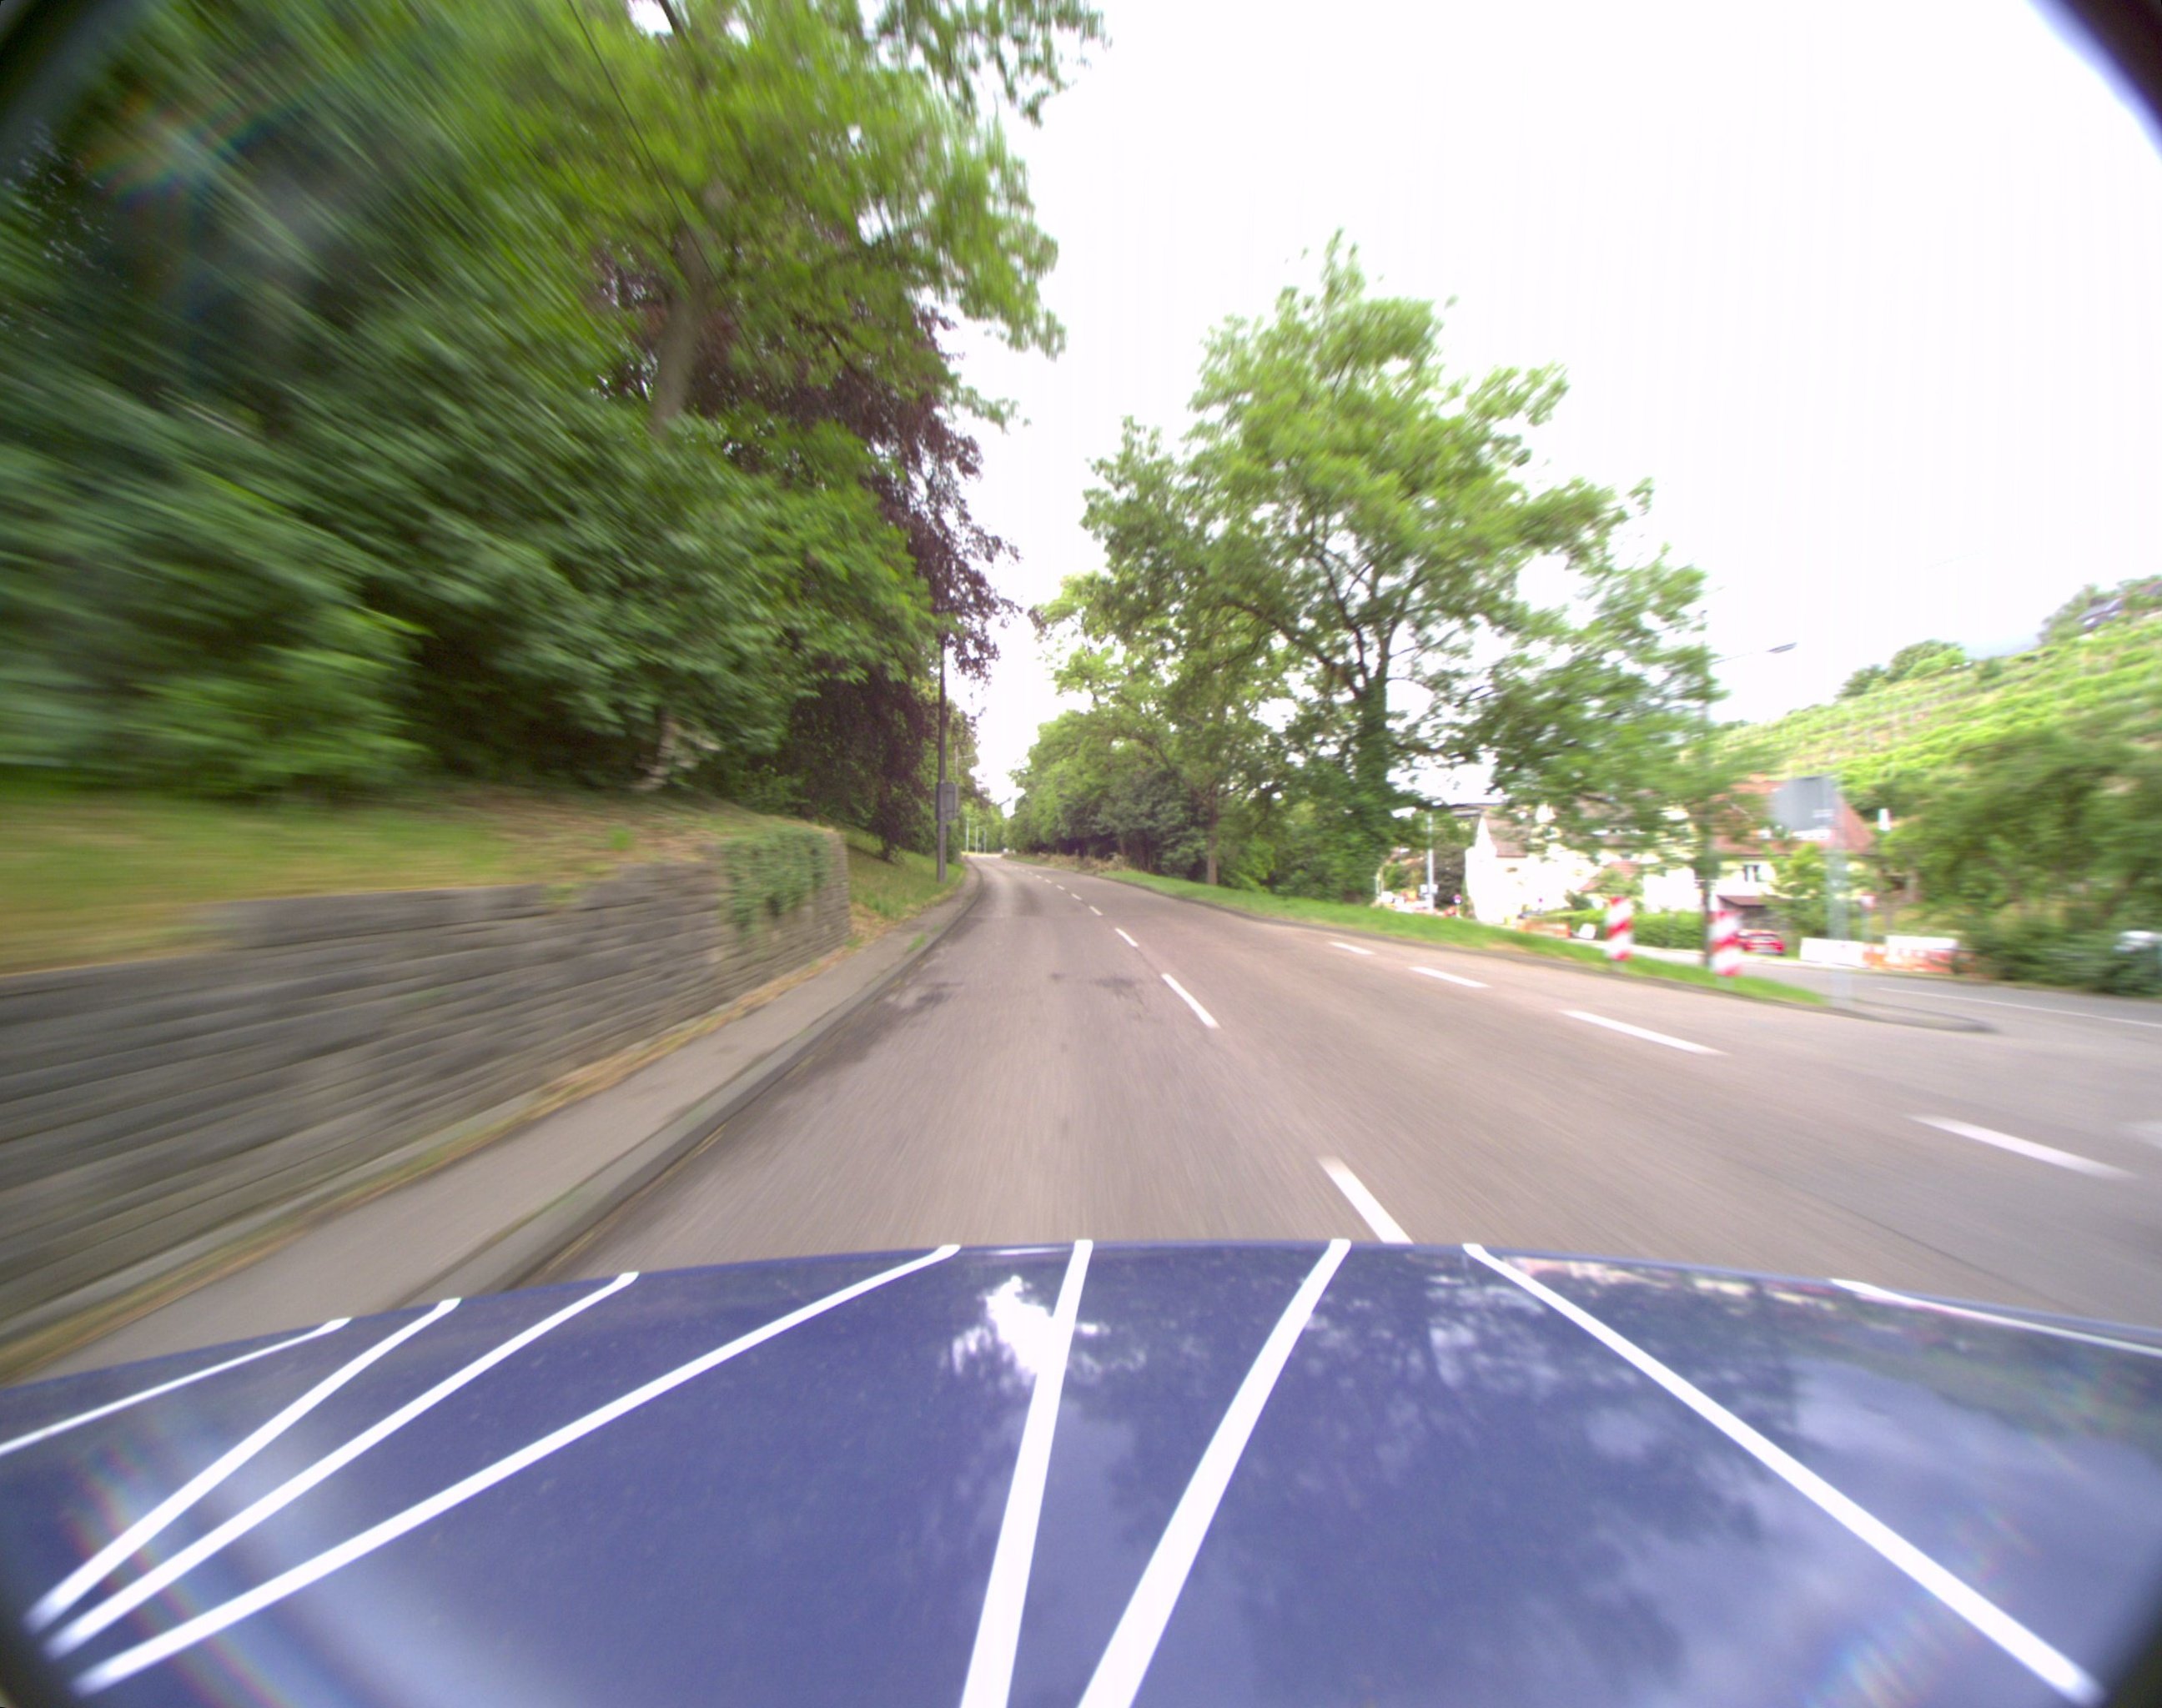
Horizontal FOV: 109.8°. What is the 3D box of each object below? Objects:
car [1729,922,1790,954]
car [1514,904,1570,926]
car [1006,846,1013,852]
[{"bbox_3d":[36.444,4.470,40.906,1.751,1.381,4.010,6,0,34],"label":"car"},{"bbox_3d":[40.902,5.394,67.438,3.844,1.870,1.722,0,-1,9],"label":"car"},{"bbox_3d":[-24.418,-1.651,259.675,2.000,1.936,4.941,1,1,-7],"label":"car"}]
